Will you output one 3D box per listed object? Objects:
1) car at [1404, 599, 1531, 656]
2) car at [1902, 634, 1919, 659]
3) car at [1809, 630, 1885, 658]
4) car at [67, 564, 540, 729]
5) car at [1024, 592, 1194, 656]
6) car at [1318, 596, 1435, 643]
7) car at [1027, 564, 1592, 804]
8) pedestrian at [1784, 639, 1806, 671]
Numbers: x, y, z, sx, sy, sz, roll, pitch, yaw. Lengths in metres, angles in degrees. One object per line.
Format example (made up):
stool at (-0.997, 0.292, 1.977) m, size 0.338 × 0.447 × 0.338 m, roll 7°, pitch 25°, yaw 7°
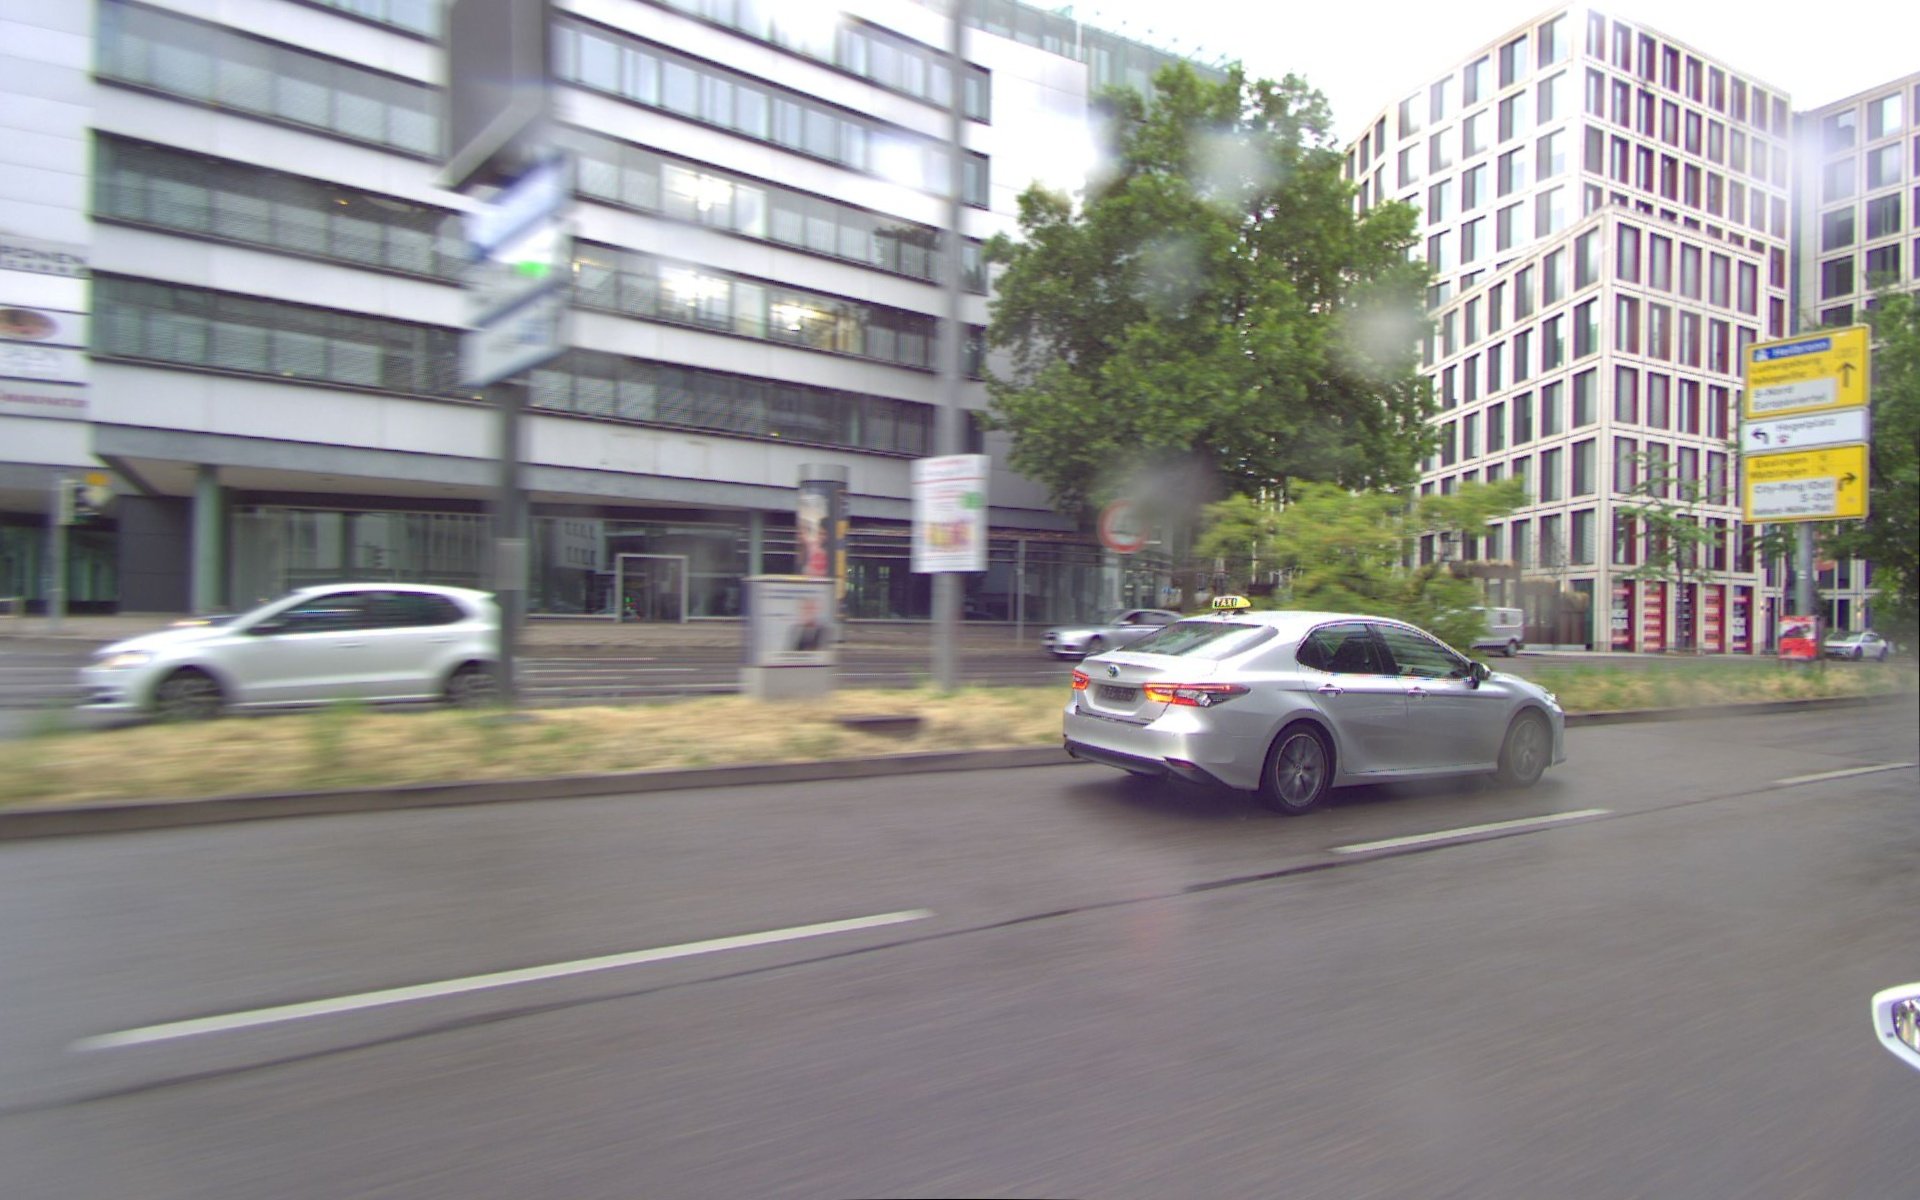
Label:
car at (20.373, 1.094, 40.302) m, size 4.852 × 2.040 × 1.986 m, roll 3°, pitch 0°, yaw -27°
car at (57.878, 2.804, 59.636) m, size 3.907 × 1.442 × 1.691 m, roll 3°, pitch -2°, yaw -28°
car at (47.889, 2.385, 54.218) m, size 4.320 × 1.442 × 1.691 m, roll 3°, pitch -2°, yaw -28°
car at (-6.826, 0.494, 10.863) m, size 3.929 × 1.483 × 1.741 m, roll 3°, pitch 0°, yaw -33°
car at (4.185, 0.662, 28.114) m, size 4.428 × 1.639 × 1.984 m, roll 1°, pitch 0°, yaw -30°
car at (15.695, 0.724, 37.809) m, size 4.234 × 1.549 × 1.790 m, roll 3°, pitch 0°, yaw -29°
car at (3.057, 0.635, 8.450) m, size 4.746 × 1.541 × 1.822 m, roll 3°, pitch 0°, yaw -31°
pedestrian at (47.807, 3.130, 57.490) m, size 0.955 × 1.757 × 0.609 m, roll 3°, pitch 0°, yaw -29°
